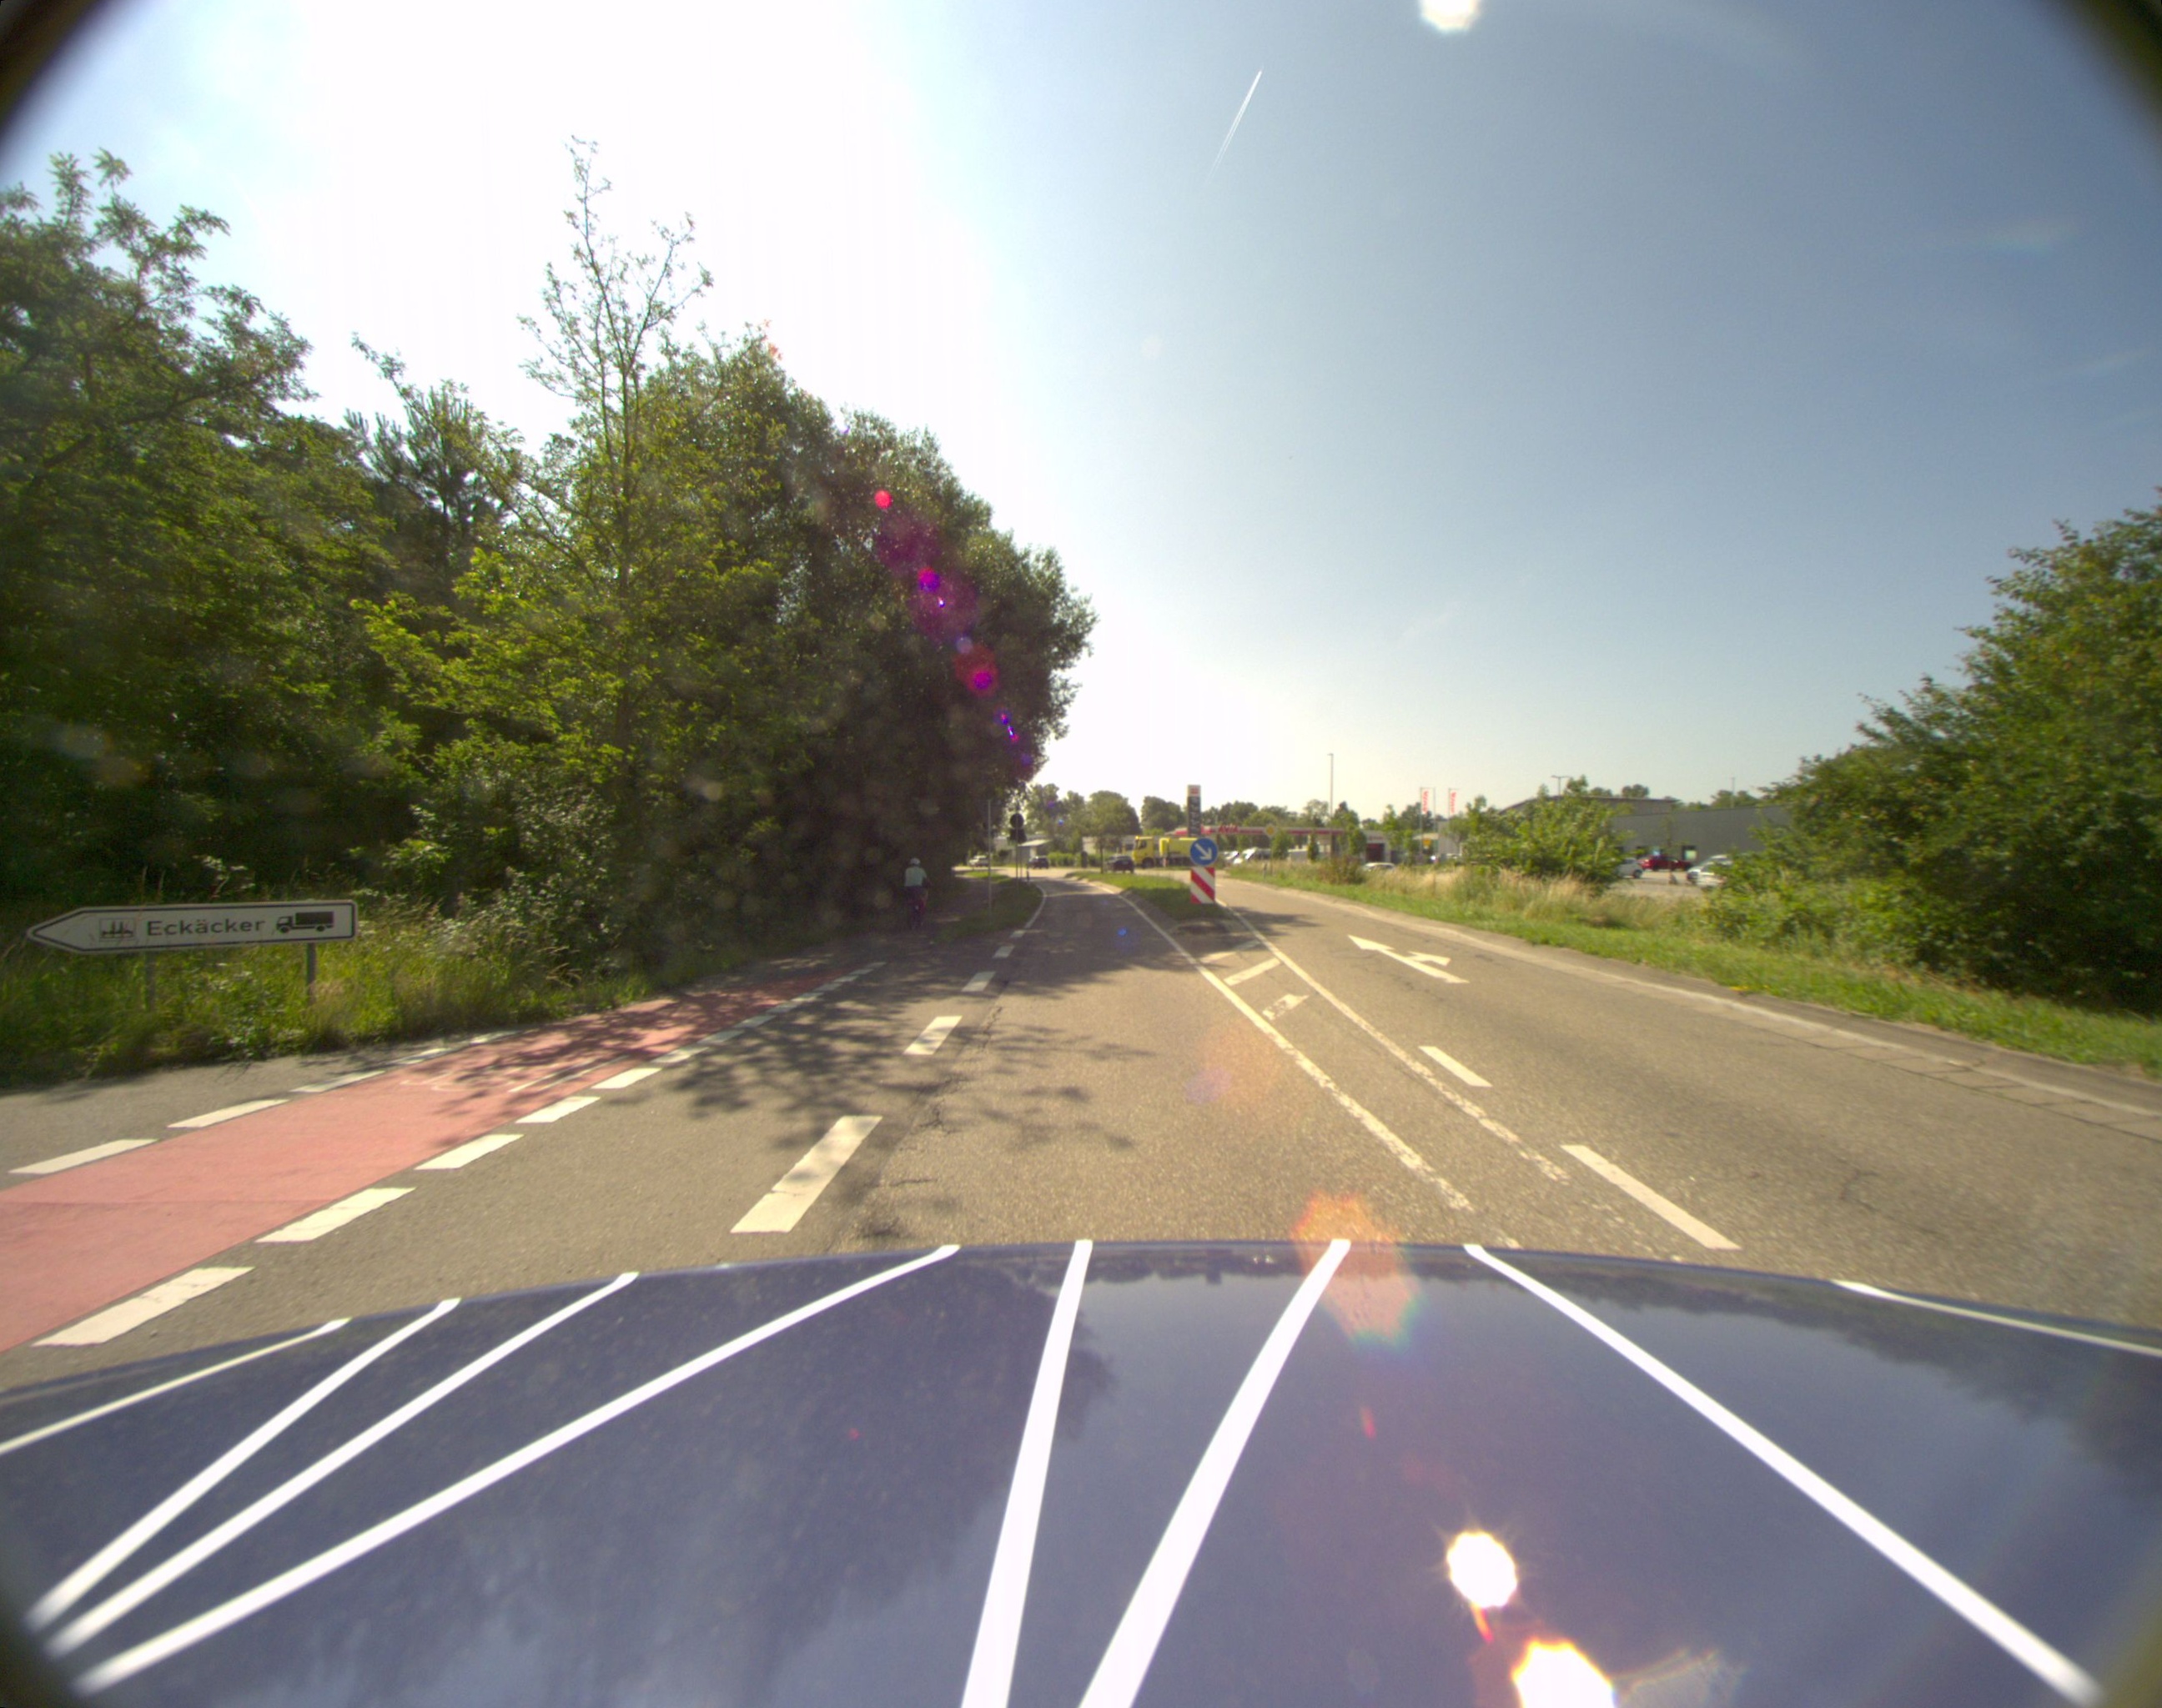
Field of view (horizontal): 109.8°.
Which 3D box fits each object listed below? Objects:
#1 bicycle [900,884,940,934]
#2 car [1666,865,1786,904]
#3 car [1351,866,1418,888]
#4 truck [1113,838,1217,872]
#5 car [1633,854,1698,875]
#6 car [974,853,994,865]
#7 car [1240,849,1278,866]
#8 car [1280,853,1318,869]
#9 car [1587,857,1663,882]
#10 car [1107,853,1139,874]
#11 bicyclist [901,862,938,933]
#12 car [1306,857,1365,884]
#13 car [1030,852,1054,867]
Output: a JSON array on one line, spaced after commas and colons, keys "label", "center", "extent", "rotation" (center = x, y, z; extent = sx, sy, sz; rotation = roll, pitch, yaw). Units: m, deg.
[{"label": "bicycle", "center": [-4.023, 1.359, 19.082], "extent": [0.591, 1.117, 1.520], "rotation": [-2, 0, 3]}, {"label": "car", "center": [30.819, 1.410, 36.464], "extent": [2.001, 1.739, 3.995], "rotation": [0, 0, -12]}, {"label": "car", "center": [21.848, 1.650, 54.781], "extent": [3.997, 1.477, 2.000], "rotation": [0, 0, -1]}, {"label": "truck", "center": [8.527, 0.111, 78.419], "extent": [10.333, 3.374, 3.884], "rotation": [0, 0, -1]}, {"label": "car", "center": [49.274, 0.848, 64.106], "extent": [3.997, 1.739, 2.000], "rotation": [0, 0, -1]}, {"label": "car", "center": [-14.381, 0.721, 112.456], "extent": [1.831, 1.630, 3.829], "rotation": [0, 0, -24]}, {"label": "car", "center": [21.238, 0.391, 90.733], "extent": [4.004, 1.936, 1.996], "rotation": [0, 0, -20]}, {"label": "car", "center": [26.726, 0.823, 93.110], "extent": [4.004, 1.936, 1.996], "rotation": [0, 0, -20]}, {"label": "car", "center": [38.936, 1.097, 54.452], "extent": [3.997, 1.739, 2.000], "rotation": [0, 0, -1]}, {"label": "car", "center": [3.252, 0.742, 60.005], "extent": [1.829, 1.630, 3.834], "rotation": [0, 0, -8]}, {"label": "bicyclist", "center": [-4.050, 1.072, 19.083], "extent": [0.638, 1.720, 0.979], "rotation": [-2, 0, 3]}, {"label": "car", "center": [20.375, 1.314, 60.963], "extent": [3.997, 2.155, 2.000], "rotation": [0, 0, -1]}, {"label": "car", "center": [-4.592, 0.614, 88.448], "extent": [1.831, 1.630, 3.831], "rotation": [0, 0, -19]}]
